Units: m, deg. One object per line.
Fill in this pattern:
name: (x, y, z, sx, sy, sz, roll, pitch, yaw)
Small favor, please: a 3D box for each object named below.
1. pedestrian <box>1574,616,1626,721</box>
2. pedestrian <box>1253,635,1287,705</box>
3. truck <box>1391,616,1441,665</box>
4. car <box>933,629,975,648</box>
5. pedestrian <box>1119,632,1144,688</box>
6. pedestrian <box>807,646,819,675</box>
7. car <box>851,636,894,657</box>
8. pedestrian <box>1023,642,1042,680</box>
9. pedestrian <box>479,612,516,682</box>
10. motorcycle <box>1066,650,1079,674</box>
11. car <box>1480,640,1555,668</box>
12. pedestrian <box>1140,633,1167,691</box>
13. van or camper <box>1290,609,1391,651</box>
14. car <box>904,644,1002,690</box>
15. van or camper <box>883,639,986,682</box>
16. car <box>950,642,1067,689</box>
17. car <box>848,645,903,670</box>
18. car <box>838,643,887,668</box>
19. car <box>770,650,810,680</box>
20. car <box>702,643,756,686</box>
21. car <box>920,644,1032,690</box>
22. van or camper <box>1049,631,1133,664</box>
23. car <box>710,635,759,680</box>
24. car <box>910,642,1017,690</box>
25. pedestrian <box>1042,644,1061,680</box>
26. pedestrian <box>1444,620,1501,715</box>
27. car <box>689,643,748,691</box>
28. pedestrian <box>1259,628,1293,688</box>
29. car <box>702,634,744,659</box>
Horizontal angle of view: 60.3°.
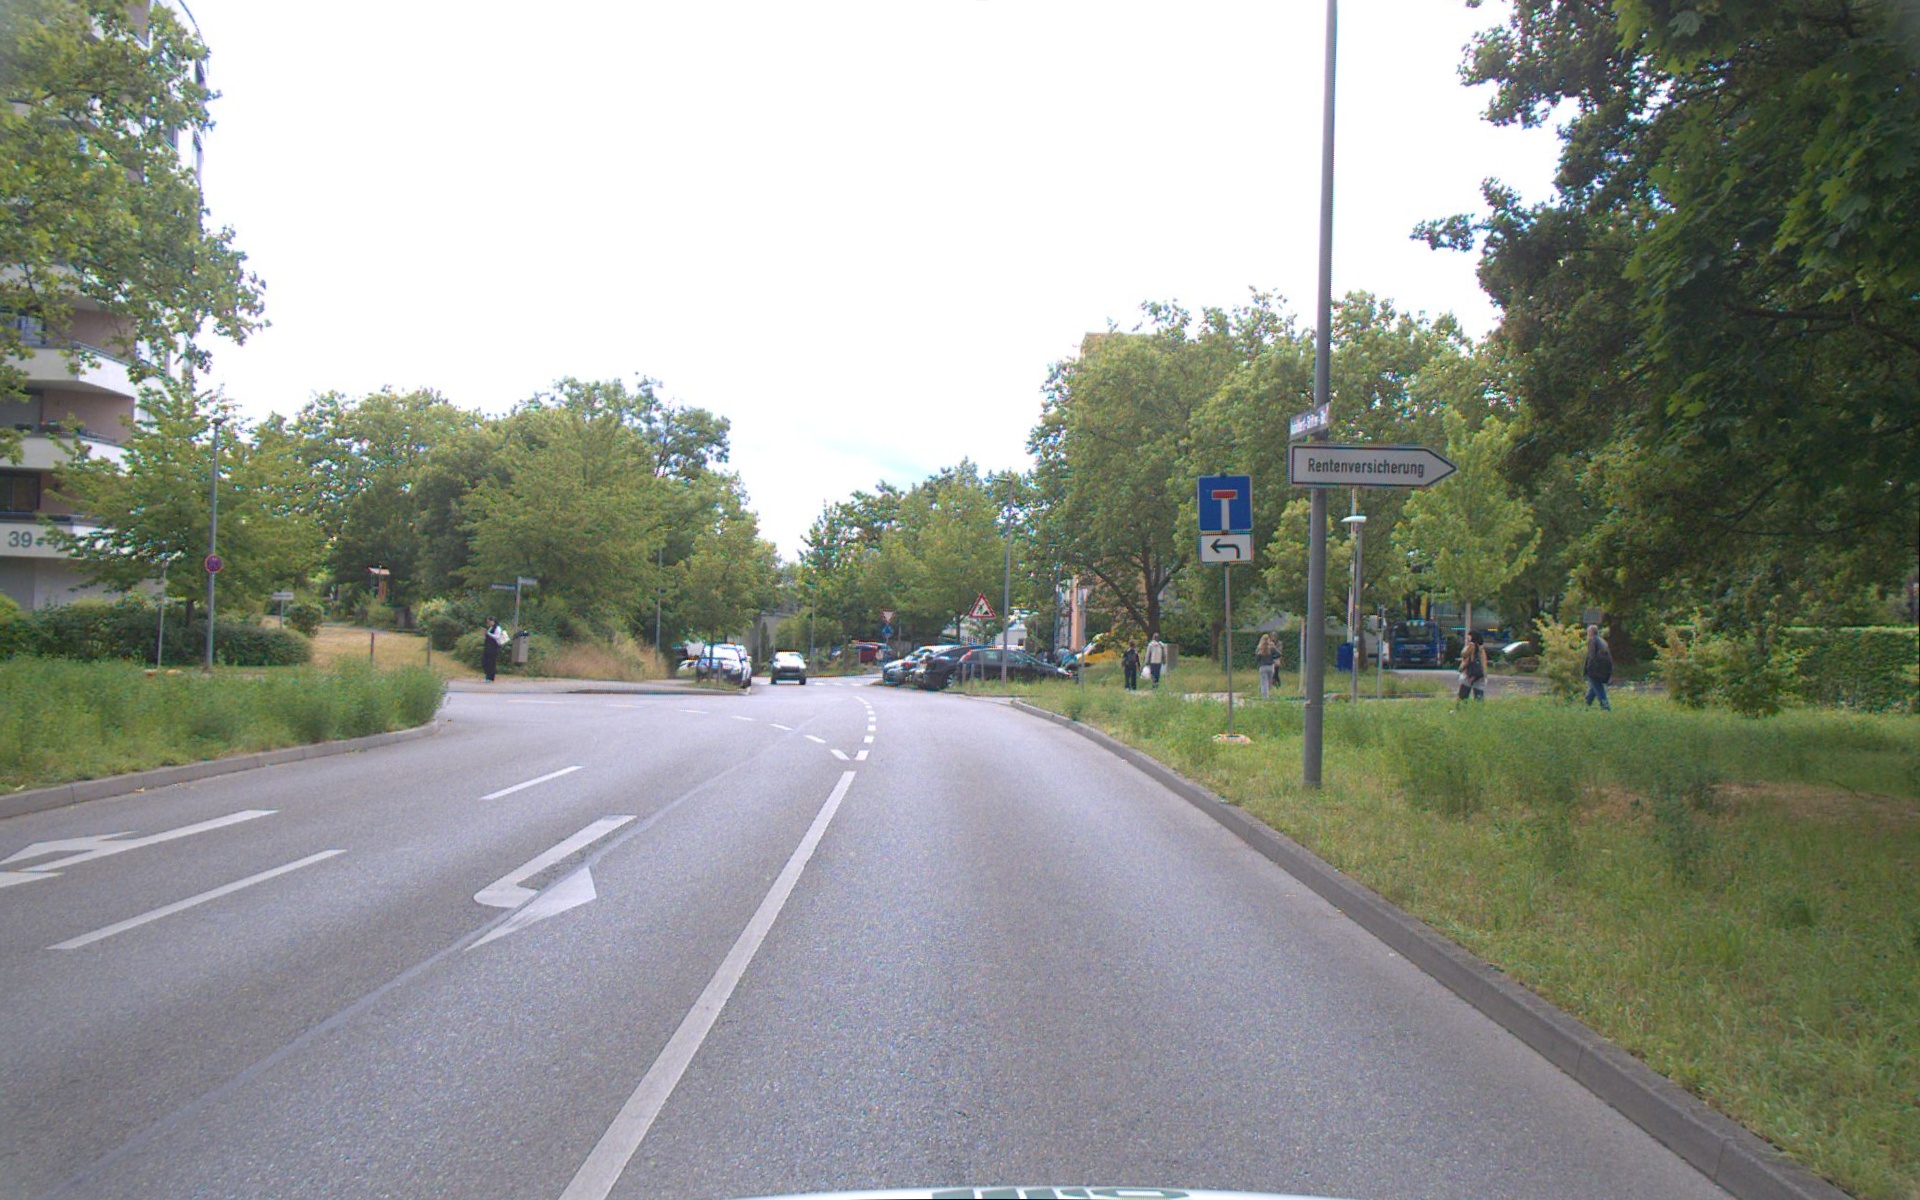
pedestrian: (11.021, 1.164, 28.497, 0.758, 1.753, 0.823, 2, 0, 20)
pedestrian: (7.368, 1.654, 39.363, 0.758, 1.624, 0.824, 1, 0, 10)
truck: (23.996, 2.079, 86.920, 2.277, 2.336, 5.898, 2, 0, 17)
car: (-0.570, 3.589, 153.501, 3.489, 1.683, 1.611, 2, -2, -21)
pedestrian: (5.564, 1.927, 53.625, 0.758, 1.753, 0.824, 1, 0, 7)
pedestrian: (-10.034, 4.138, 112.946, 0.708, 1.897, 0.649, 1, 0, -12)
car: (-7.302, 3.899, 138.391, 3.467, 1.683, 1.621, 2, -1, 2)
pedestrian: (2.980, 2.503, 68.032, 0.676, 1.530, 0.753, 2, -2, -1)
pedestrian: (-11.832, 1.191, 42.279, 0.809, 1.753, 0.772, 1, 0, -21)
motorcycle: (4.159, 2.278, 60.991, 0.443, 0.808, 1.264, 1, 0, 5)
car: (32.937, 3.202, 97.805, 3.842, 1.526, 1.771, 1, 0, -1)
pedestrian: (6.067, 1.952, 52.019, 0.784, 1.753, 0.824, 1, 0, 5)
van or camper: (18.848, 1.469, 81.932, 4.583, 1.948, 1.769, 1, 0, 29)
car: (-0.295, 2.660, 65.821, 3.842, 1.659, 1.771, 1, 0, -1)
van or camper: (-1.212, 2.830, 77.367, 4.586, 1.902, 1.768, 1, 0, -9)
car: (1.612, 2.234, 55.818, 3.842, 1.494, 1.771, 1, -4, -1)
car: (-5.983, 4.079, 117.066, 3.489, 1.591, 1.611, 3, -2, -21)
car: (-7.291, 4.138, 123.392, 3.474, 1.683, 1.618, 2, -2, -9)
car: (-8.872, 3.366, 86.462, 1.935, 1.489, 3.931, 1, -2, -4)
car: (-8.711, 2.405, 62.511, 1.731, 1.527, 3.931, 1, -1, -4)
car: (0.550, 2.362, 58.026, 3.842, 1.527, 1.771, 1, -4, -1)
van or camper: (8.566, 3.116, 108.566, 5.190, 2.077, 2.058, 1, 0, -6)
car: (-9.273, 2.357, 68.181, 1.731, 1.783, 3.931, 1, -1, -4)
car: (0.110, 2.444, 60.743, 3.842, 1.659, 1.771, 1, -4, -1)
pedestrian: (3.760, 2.563, 68.090, 0.676, 1.449, 0.753, 2, -2, -1)
pedestrian: (9.760, 1.276, 31.529, 0.759, 1.753, 0.822, 1, 0, -4)
car: (-8.346, 2.292, 57.369, 1.731, 1.527, 3.931, 1, -1, -4)
pedestrian: (9.337, 1.705, 48.835, 0.759, 1.724, 0.822, 2, 0, 27)
car: (-13.764, 2.719, 95.996, 1.193, 1.360, 2.566, 3, -2, -41)
